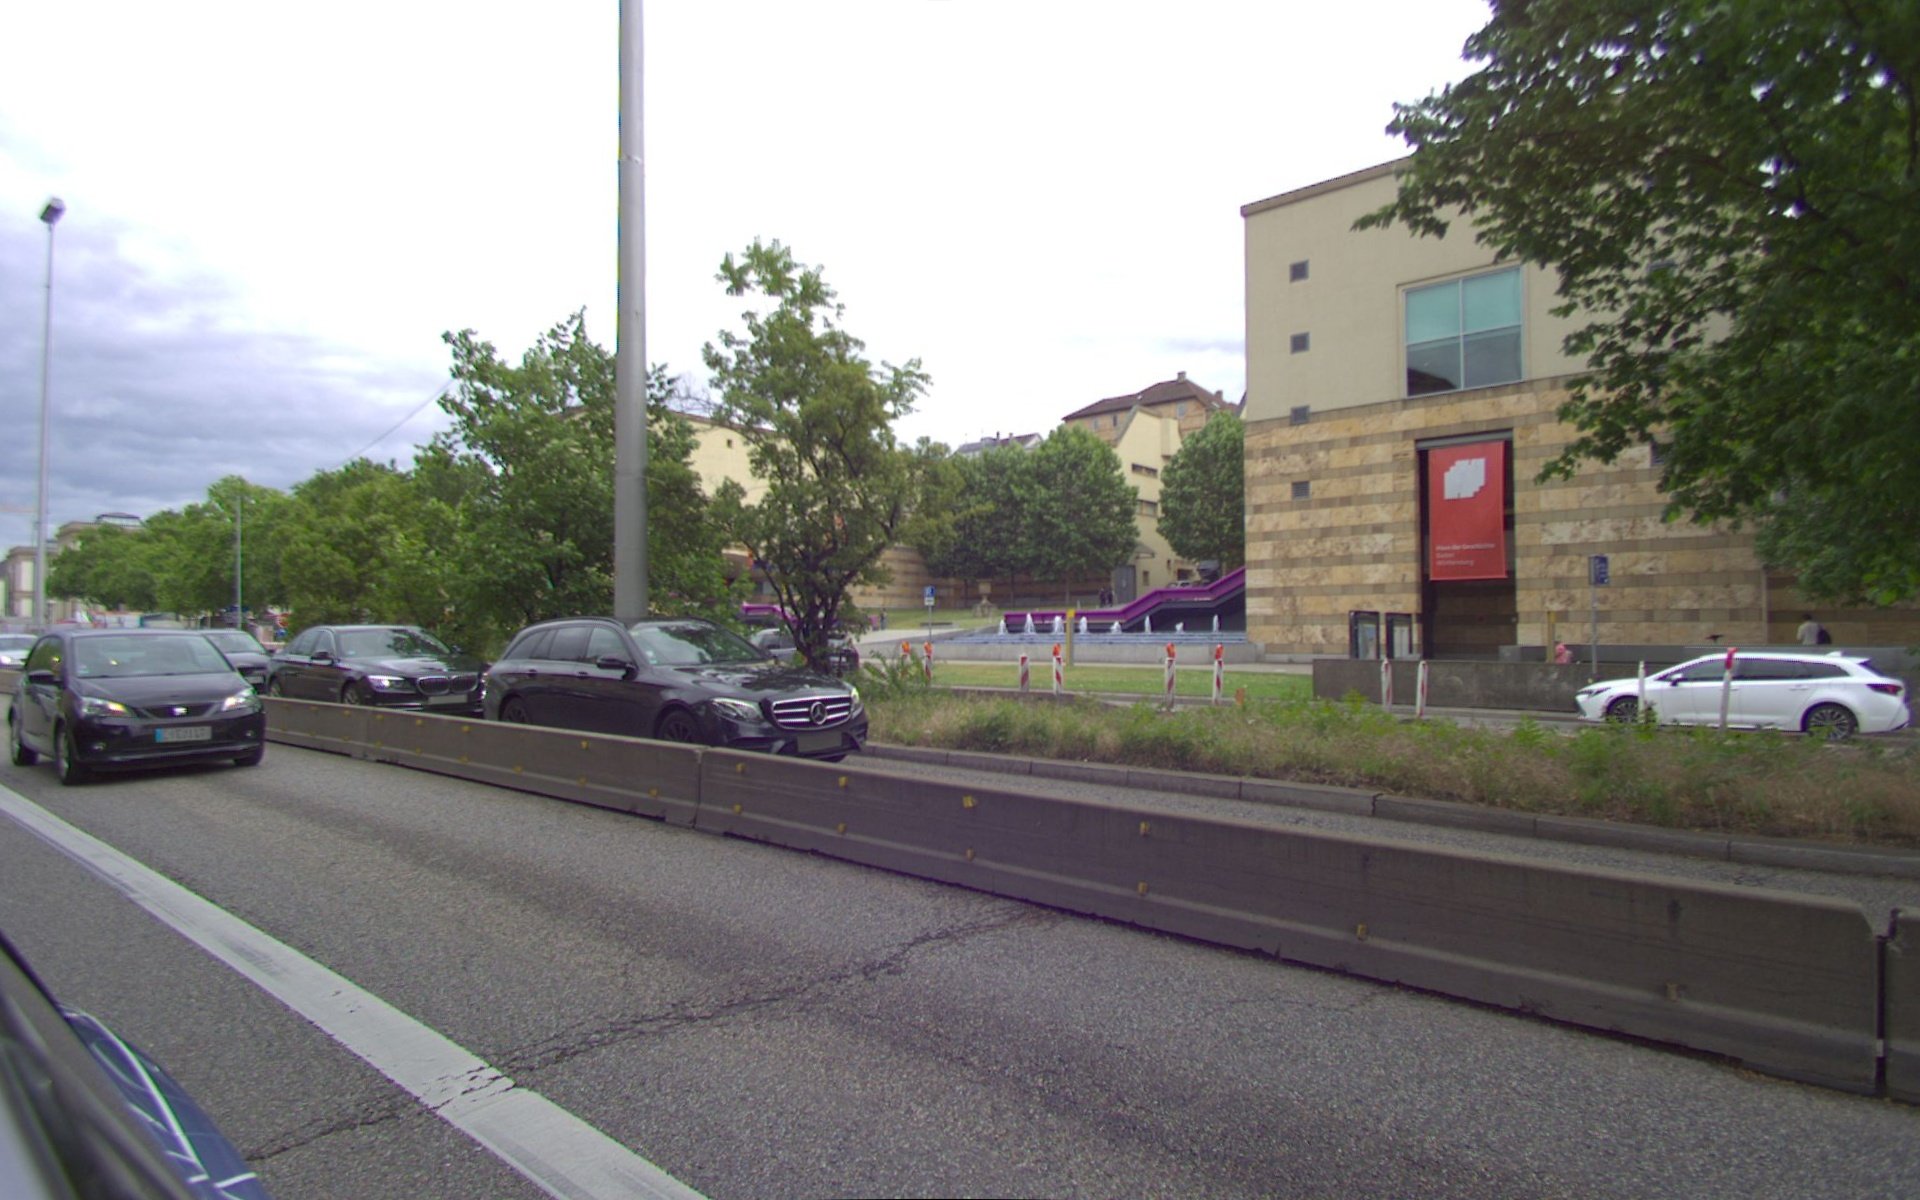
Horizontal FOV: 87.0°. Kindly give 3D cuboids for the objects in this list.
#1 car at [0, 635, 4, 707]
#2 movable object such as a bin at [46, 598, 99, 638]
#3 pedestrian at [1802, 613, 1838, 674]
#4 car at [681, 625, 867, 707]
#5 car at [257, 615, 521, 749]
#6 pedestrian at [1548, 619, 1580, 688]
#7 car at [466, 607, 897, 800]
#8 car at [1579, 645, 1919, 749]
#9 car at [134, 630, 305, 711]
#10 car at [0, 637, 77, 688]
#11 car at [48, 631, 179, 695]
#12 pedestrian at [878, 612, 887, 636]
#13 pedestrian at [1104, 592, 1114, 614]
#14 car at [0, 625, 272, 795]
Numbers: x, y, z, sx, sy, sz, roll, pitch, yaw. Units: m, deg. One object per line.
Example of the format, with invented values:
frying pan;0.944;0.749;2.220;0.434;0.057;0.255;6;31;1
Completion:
car;-22.220;1.528;21.814;3.992;1.516;1.670;-1;-1;36
movable object such as a bin;-49.627;1.028;56.609;3.286;2.202;1.508;-2;-3;36
pedestrian;22.738;1.143;26.754;0.620;1.581;0.434;-2;-2;33
car;-4.878;1.627;26.039;5.110;1.890;2.169;-3;-3;44
car;-8.526;1.079;14.895;4.934;1.648;1.903;-2;-1;42
pedestrian;13.660;1.198;22.898;0.524;1.543;0.557;-2;-2;26
car;-2.977;0.886;10.175;4.764;1.511;1.798;-2;-2;40
car;13.357;1.556;17.295;4.520;1.538;1.628;-2;-3;41
car;-15.151;1.366;20.641;4.189;1.465;1.644;-2;-1;36
car;-30.609;1.971;32.664;4.687;1.492;1.865;-1;-1;31
car;-21.782;1.572;26.017;3.845;1.518;1.658;-2;-1;35
pedestrian;-5.328;1.638;69.609;0.405;1.623;0.343;-1;0;41
pedestrian;12.087;0.235;82.166;0.477;1.762;0.639;-2;-1;39
car;-8.783;1.030;10.691;3.619;1.484;1.592;-2;-2;40
